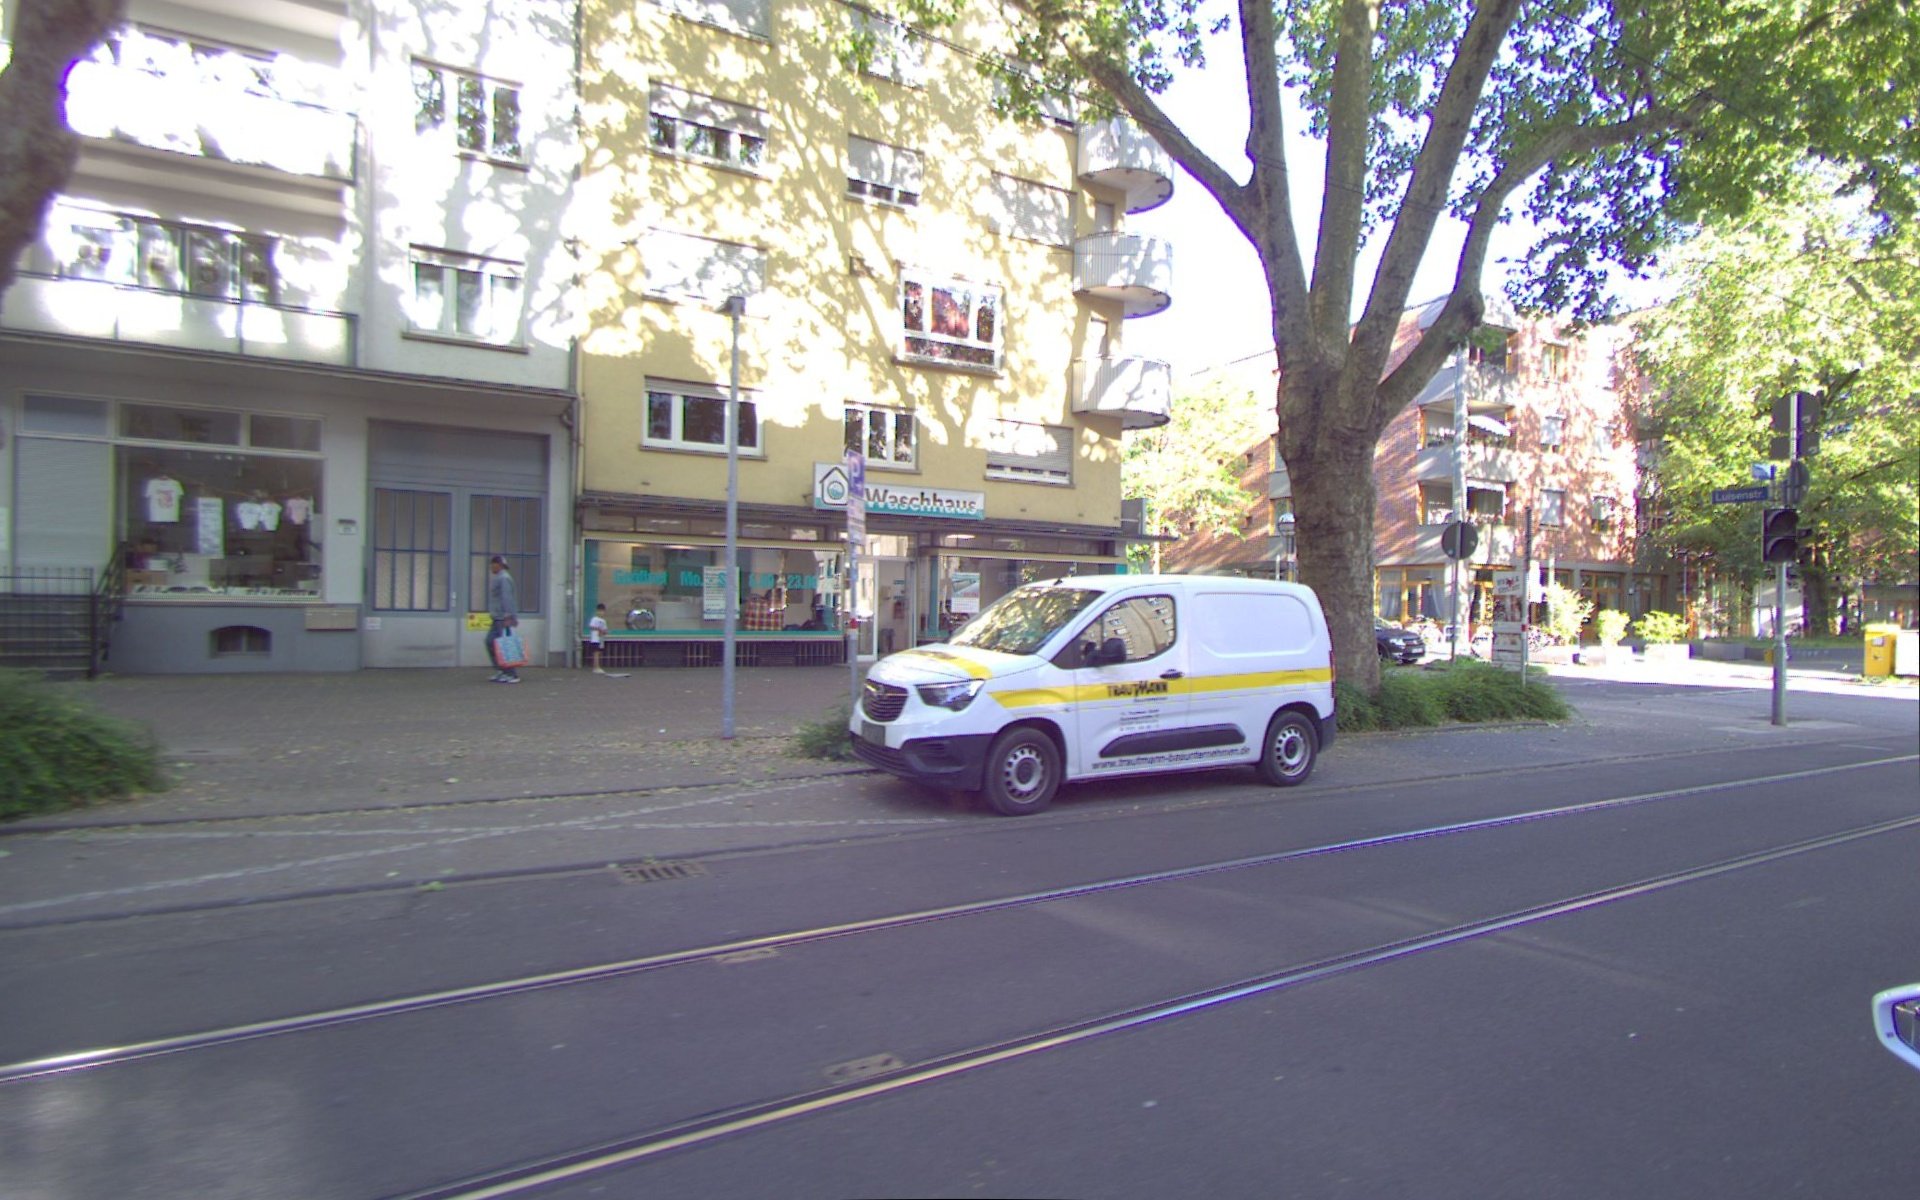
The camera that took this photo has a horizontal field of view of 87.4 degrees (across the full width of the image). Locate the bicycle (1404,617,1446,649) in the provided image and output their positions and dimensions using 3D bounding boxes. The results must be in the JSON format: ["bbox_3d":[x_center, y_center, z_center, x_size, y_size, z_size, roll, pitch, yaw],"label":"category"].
[{"bbox_3d":[16.606,1.177,35.865,1.619,1.099,0.539,0,0,-29],"label":"bicycle"}]

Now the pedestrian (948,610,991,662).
[{"bbox_3d":[0.197,0.752,21.121,0.702,1.061,0.576,1,0,-29],"label":"pedestrian"}]

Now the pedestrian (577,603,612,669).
[{"bbox_3d":[-6.340,0.620,17.419,0.434,1.120,0.417,1,0,-38],"label":"pedestrian"}]

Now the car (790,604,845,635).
[{"bbox_3d":[-8.501,1.126,59.622,1.975,1.706,3.970,2,0,-28],"label":"car"}]

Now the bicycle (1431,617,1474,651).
[{"bbox_3d":[17.158,1.171,34.982,1.619,1.099,0.539,-1,2,-29],"label":"bicycle"}]

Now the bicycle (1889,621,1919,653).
[{"bbox_3d":[39.863,1.563,41.192,0.673,1.235,2.449,1,1,-26],"label":"bicycle"}]

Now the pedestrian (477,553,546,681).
[{"bbox_3d":[-6.856,0.254,15.351,0.854,1.894,0.741,1,0,-30],"label":"pedestrian"}]

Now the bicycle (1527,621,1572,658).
[{"bbox_3d":[18.582,1.234,31.678,1.518,1.099,0.539,-2,2,-29],"label":"bicycle"}]

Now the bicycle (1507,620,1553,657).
[{"bbox_3d":[18.295,1.231,32.233,1.619,1.099,0.539,-1,2,-29],"label":"bicycle"}]

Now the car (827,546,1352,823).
[{"bbox_3d":[1.194,0.616,8.634,4.267,1.875,1.755,2,0,-30],"label":"car"}]

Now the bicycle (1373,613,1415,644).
[{"bbox_3d":[16.089,1.051,37.208,1.619,1.098,0.539,2,0,-29],"label":"bicycle"}]

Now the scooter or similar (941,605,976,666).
[{"bbox_3d":[-0.040,0.713,20.214,0.662,1.183,0.644,2,0,-1],"label":"scooter or similar"}]

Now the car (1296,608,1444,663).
[{"bbox_3d":[12.793,1.084,31.595,1.975,1.528,3.970,2,0,-28],"label":"car"}]

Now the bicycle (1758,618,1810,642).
[{"bbox_3d":[41.260,1.489,50.288,0.760,1.087,1.921,1,0,-43],"label":"bicycle"}]

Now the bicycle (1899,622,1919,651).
[{"bbox_3d":[40.308,1.534,41.307,0.673,1.182,2.332,1,1,-26],"label":"bicycle"}]

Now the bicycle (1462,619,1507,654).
[{"bbox_3d":[17.662,1.219,33.807,1.619,1.099,0.539,-1,1,-29],"label":"bicycle"}]

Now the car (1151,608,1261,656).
[{"bbox_3d":[9.347,1.195,38.446,1.936,1.684,3.970,2,-1,-28],"label":"car"}]
